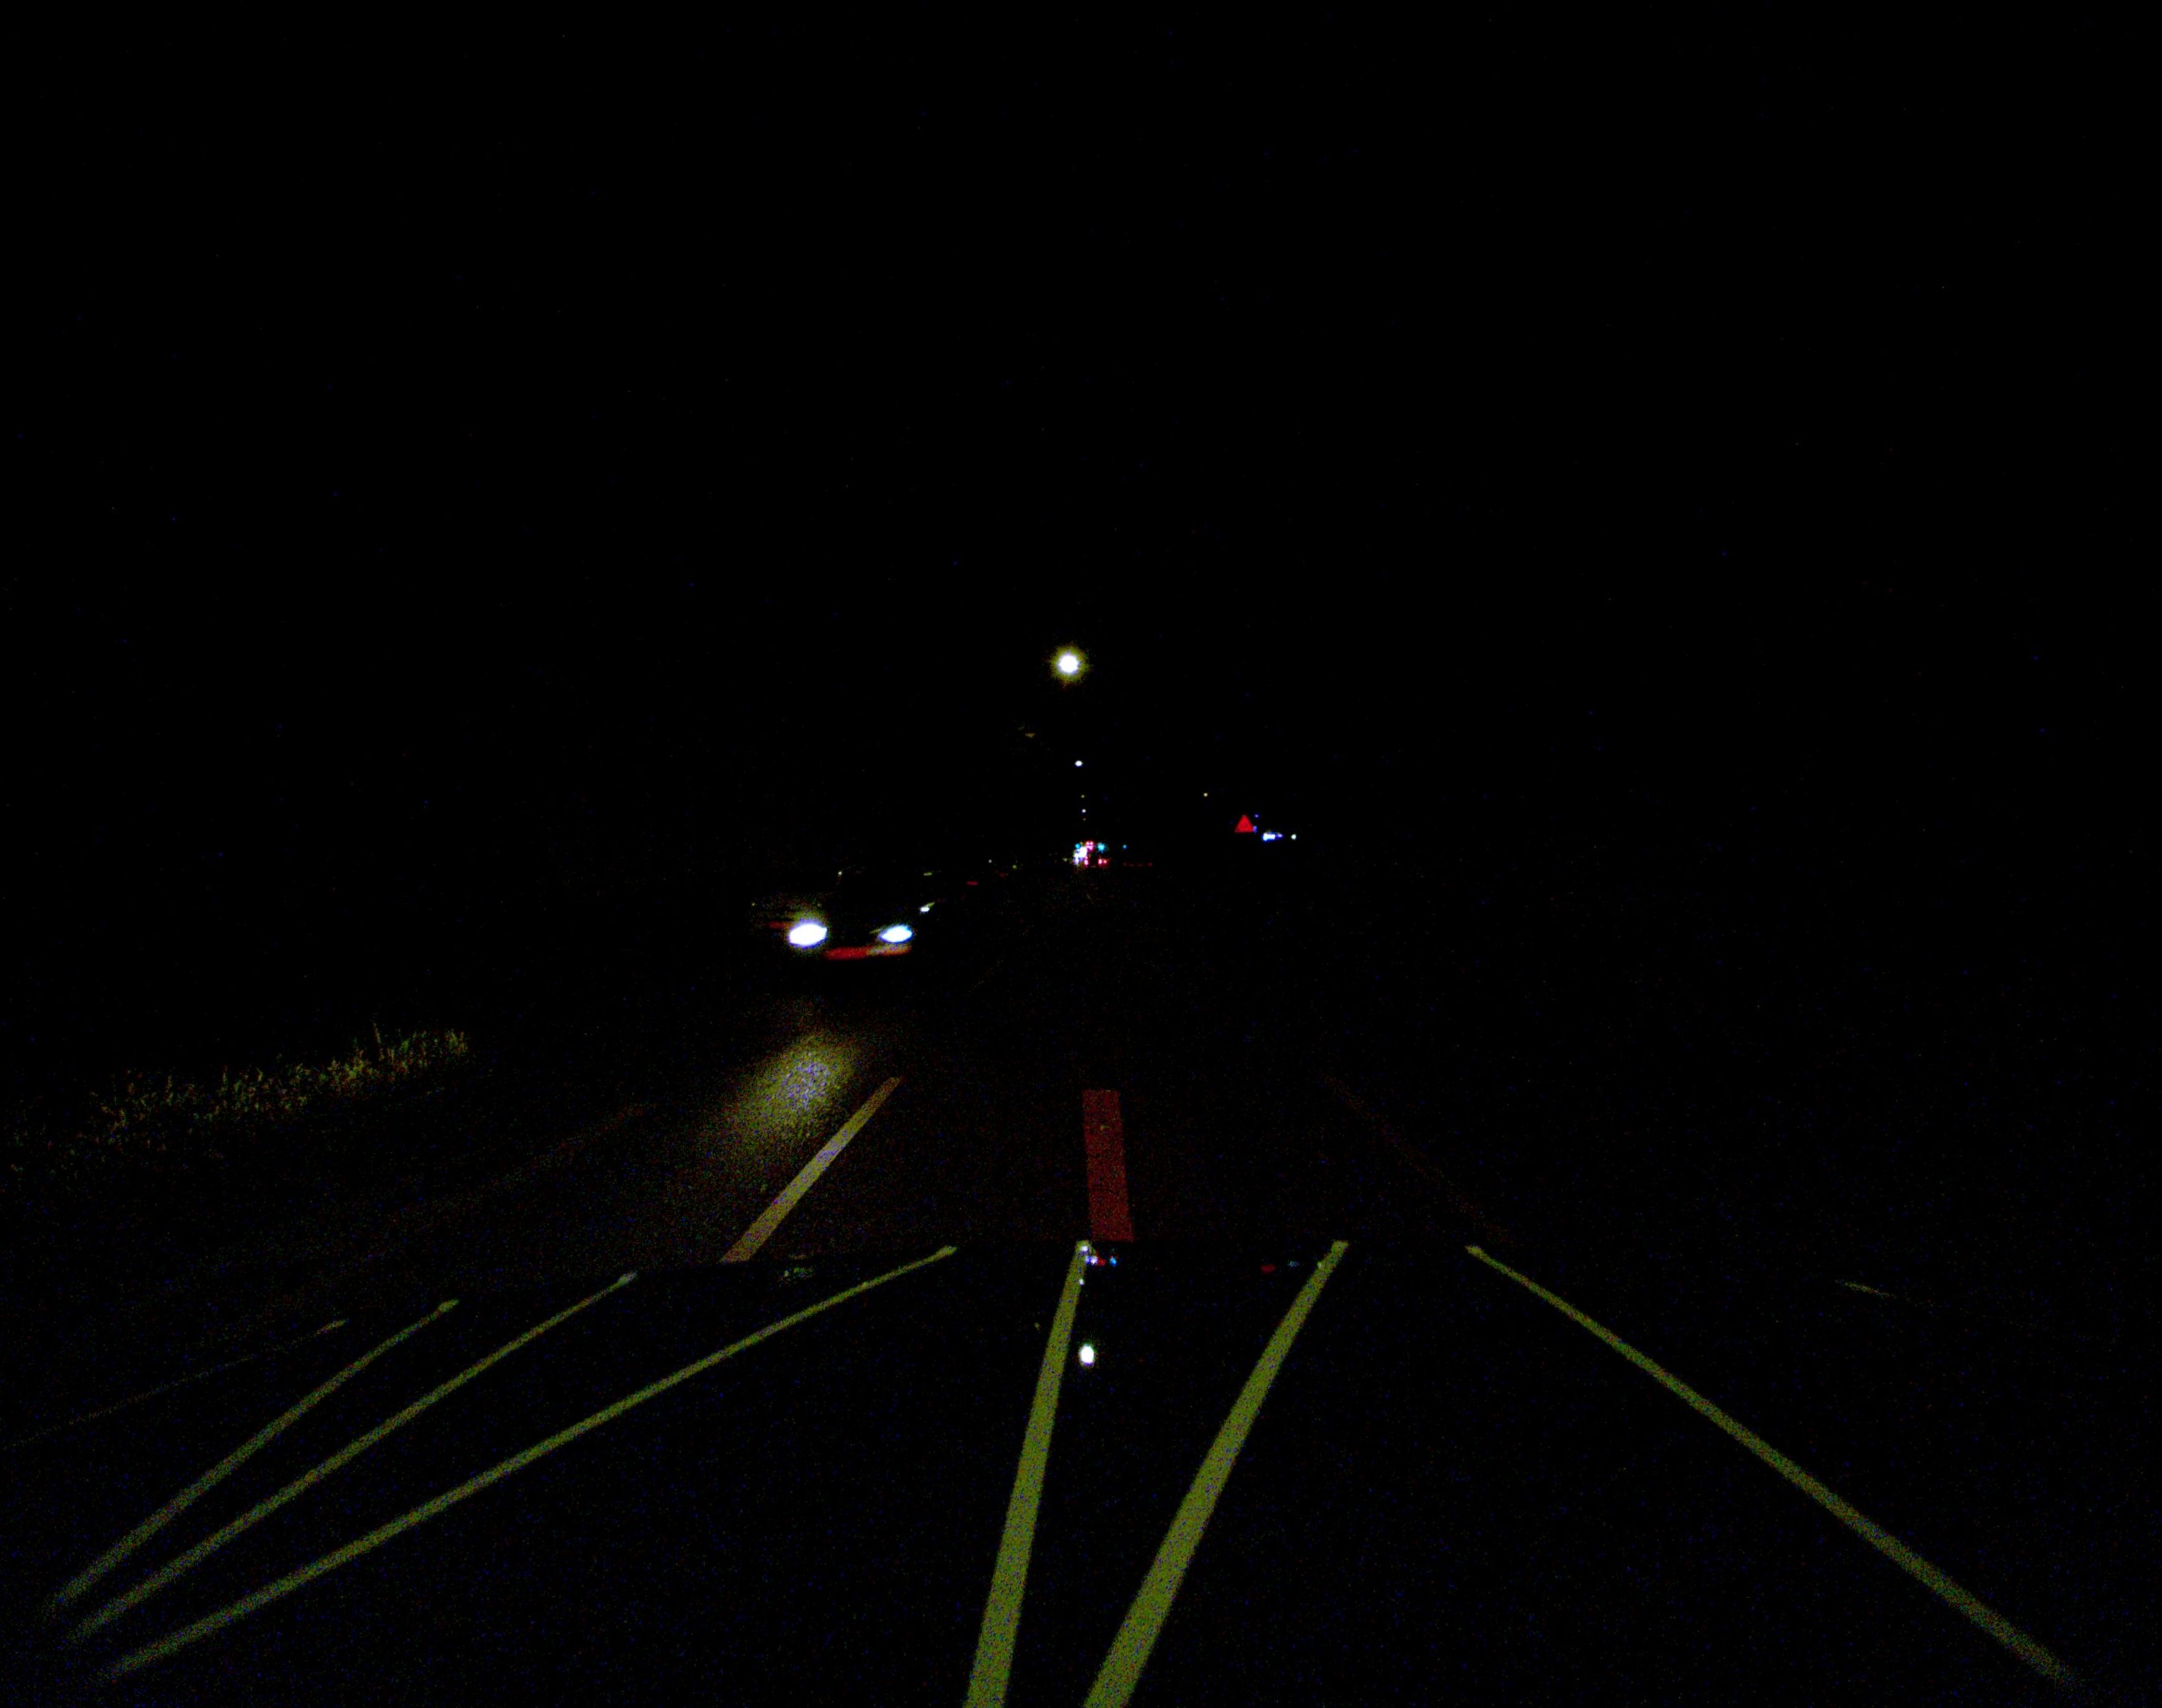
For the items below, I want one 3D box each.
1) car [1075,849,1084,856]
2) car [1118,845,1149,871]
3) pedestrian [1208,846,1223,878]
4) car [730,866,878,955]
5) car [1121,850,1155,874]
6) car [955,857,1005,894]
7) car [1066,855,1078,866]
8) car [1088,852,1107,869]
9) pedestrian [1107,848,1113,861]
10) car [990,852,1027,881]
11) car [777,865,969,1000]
[{"bbox_3d":[-0.421,-0.341,190.388,1.998,1.740,3.999,-2,1,1],"label":"car"},{"bbox_3d":[3.896,0.284,57.166,1.998,1.772,3.999,-2,1,1],"label":"car"},{"bbox_3d":[7.344,0.438,41.513,0.673,1.750,0.500,-2,1,1],"label":"pedestrian"},{"bbox_3d":[-5.325,1.016,15.067,1.611,1.500,3.486,0,0,1],"label":"car"},{"bbox_3d":[3.891,0.508,52.081,1.998,1.477,3.999,-3,1,1],"label":"car"},{"bbox_3d":[-4.468,0.900,33.948,1.742,1.489,3.890,-1,0,-1],"label":"car"},{"bbox_3d":[-1.531,1.098,134.883,1.998,1.718,3.803,-2,1,1],"label":"car"},{"bbox_3d":[1.597,0.661,75.281,1.755,1.433,3.487,-2,-2,-1],"label":"car"},{"bbox_3d":[4.441,0.112,117.953,0.804,2.002,0.940,-2,1,1],"label":"pedestrian"},{"bbox_3d":[-4.458,0.745,47.480,1.852,1.643,4.179,-2,0,0],"label":"car"},{"bbox_3d":[-2.826,0.990,11.264,1.780,1.477,3.999,-2,1,-1],"label":"car"}]
